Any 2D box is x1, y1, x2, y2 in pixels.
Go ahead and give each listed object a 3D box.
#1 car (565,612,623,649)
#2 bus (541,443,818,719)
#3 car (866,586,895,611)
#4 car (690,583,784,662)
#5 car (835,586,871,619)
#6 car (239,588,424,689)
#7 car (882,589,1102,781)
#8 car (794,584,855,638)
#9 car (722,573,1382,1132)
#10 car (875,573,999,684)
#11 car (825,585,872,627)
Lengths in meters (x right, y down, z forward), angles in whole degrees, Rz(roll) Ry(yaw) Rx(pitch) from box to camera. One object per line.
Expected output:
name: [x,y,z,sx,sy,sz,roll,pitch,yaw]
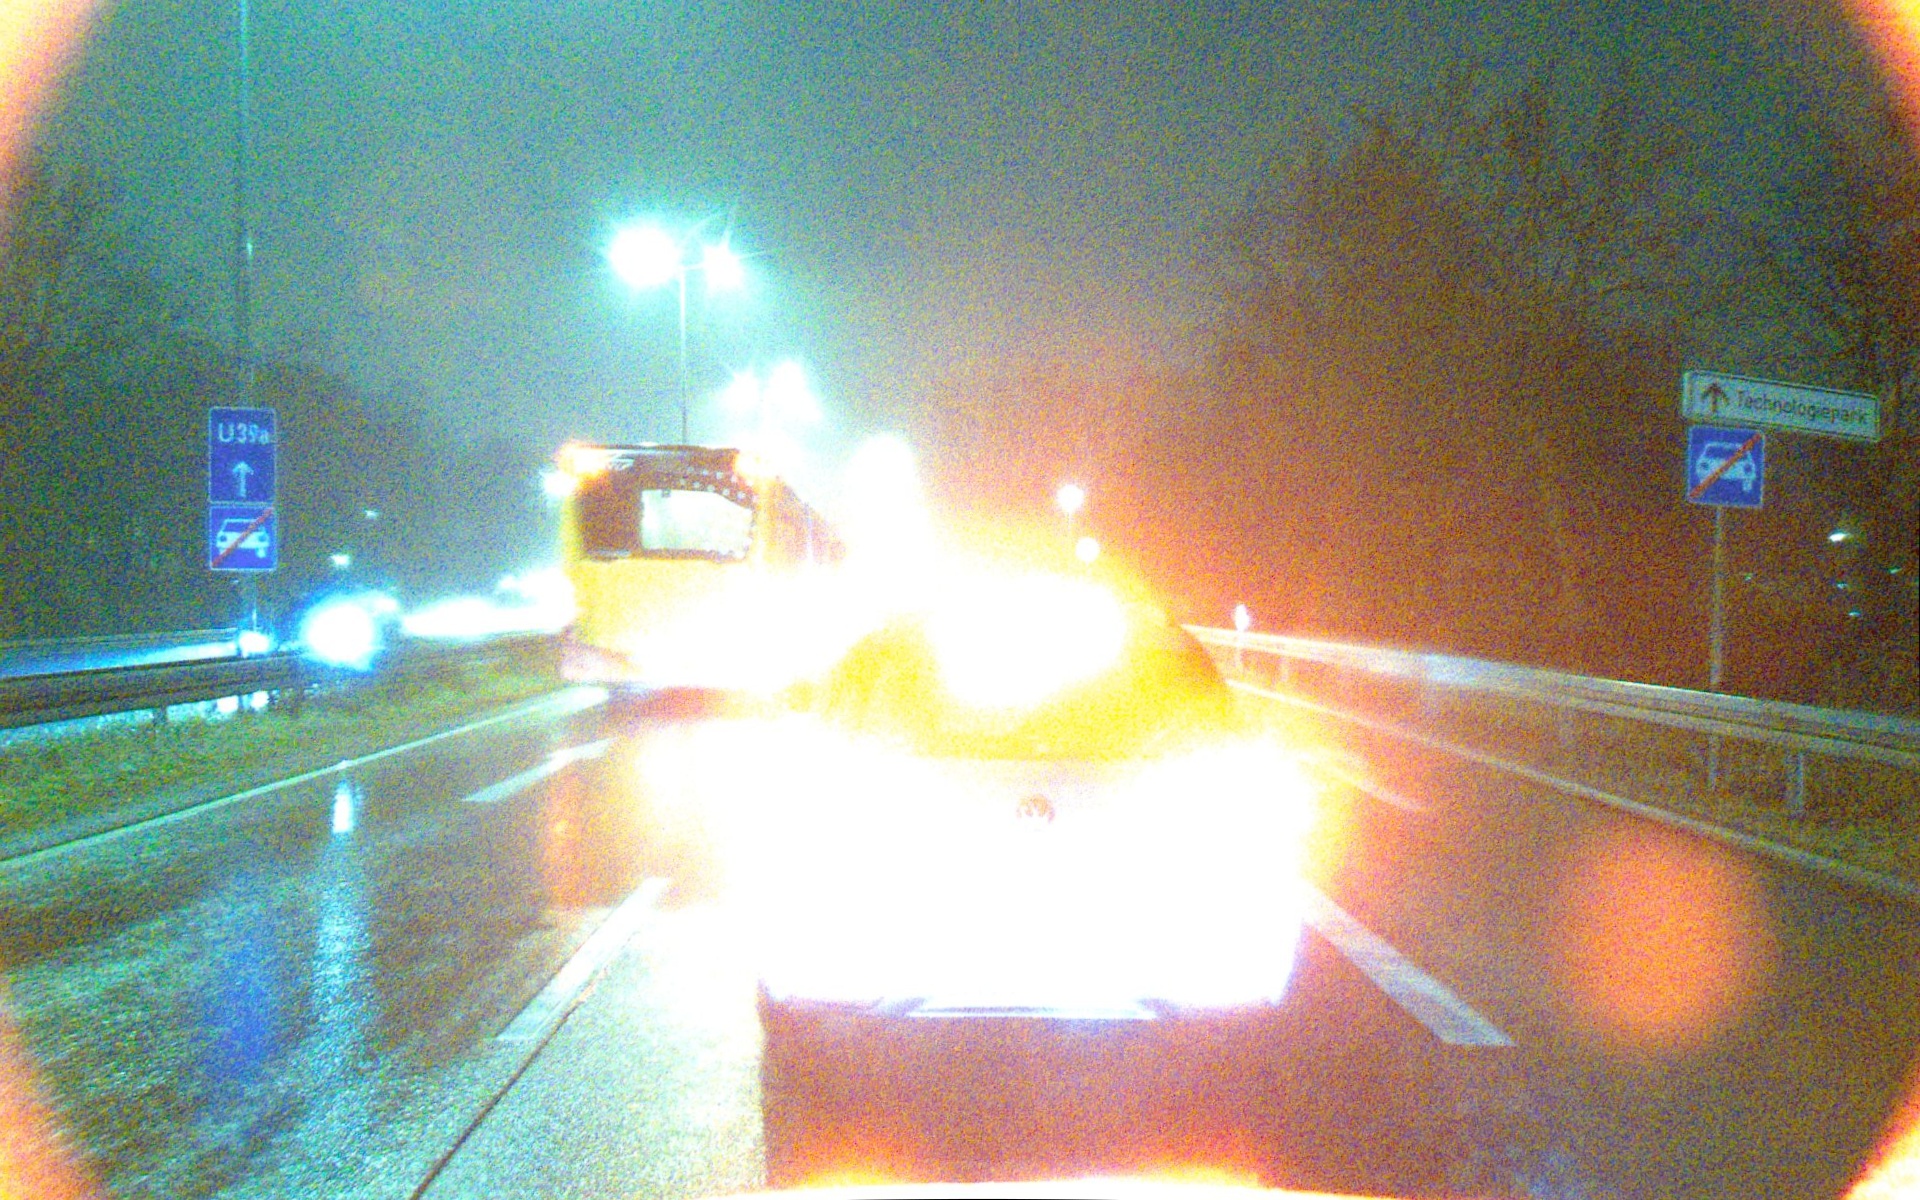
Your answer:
car: [-15.665,1.297,70.930,1.578,1.406,4.163,-2,1,-1]
bus: [-3.515,-0.236,22.915,2.759,3.077,8.682,0,0,-3]
car: [-5.182,-0.093,107.921,1.743,1.570,3.874,1,0,-1]
car: [-4.702,0.439,35.322,1.744,1.570,3.871,1,0,-4]
car: [-5.271,0.088,81.179,1.744,1.570,3.871,1,0,-4]
car: [-10.617,0.598,28.242,1.716,1.579,4.009,0,0,-2]
car: [0.141,0.650,15.192,1.697,1.474,4.722,1,0,-3]
car: [-4.092,0.315,50.499,1.744,1.570,3.872,1,0,-3]
car: [0.221,0.672,6.770,1.784,1.510,4.567,0,0,-1]
car: [-0.424,0.399,25.952,1.705,1.592,3.773,1,0,-4]
car: [-4.354,0.221,64.874,1.744,1.570,3.873,1,0,-3]
